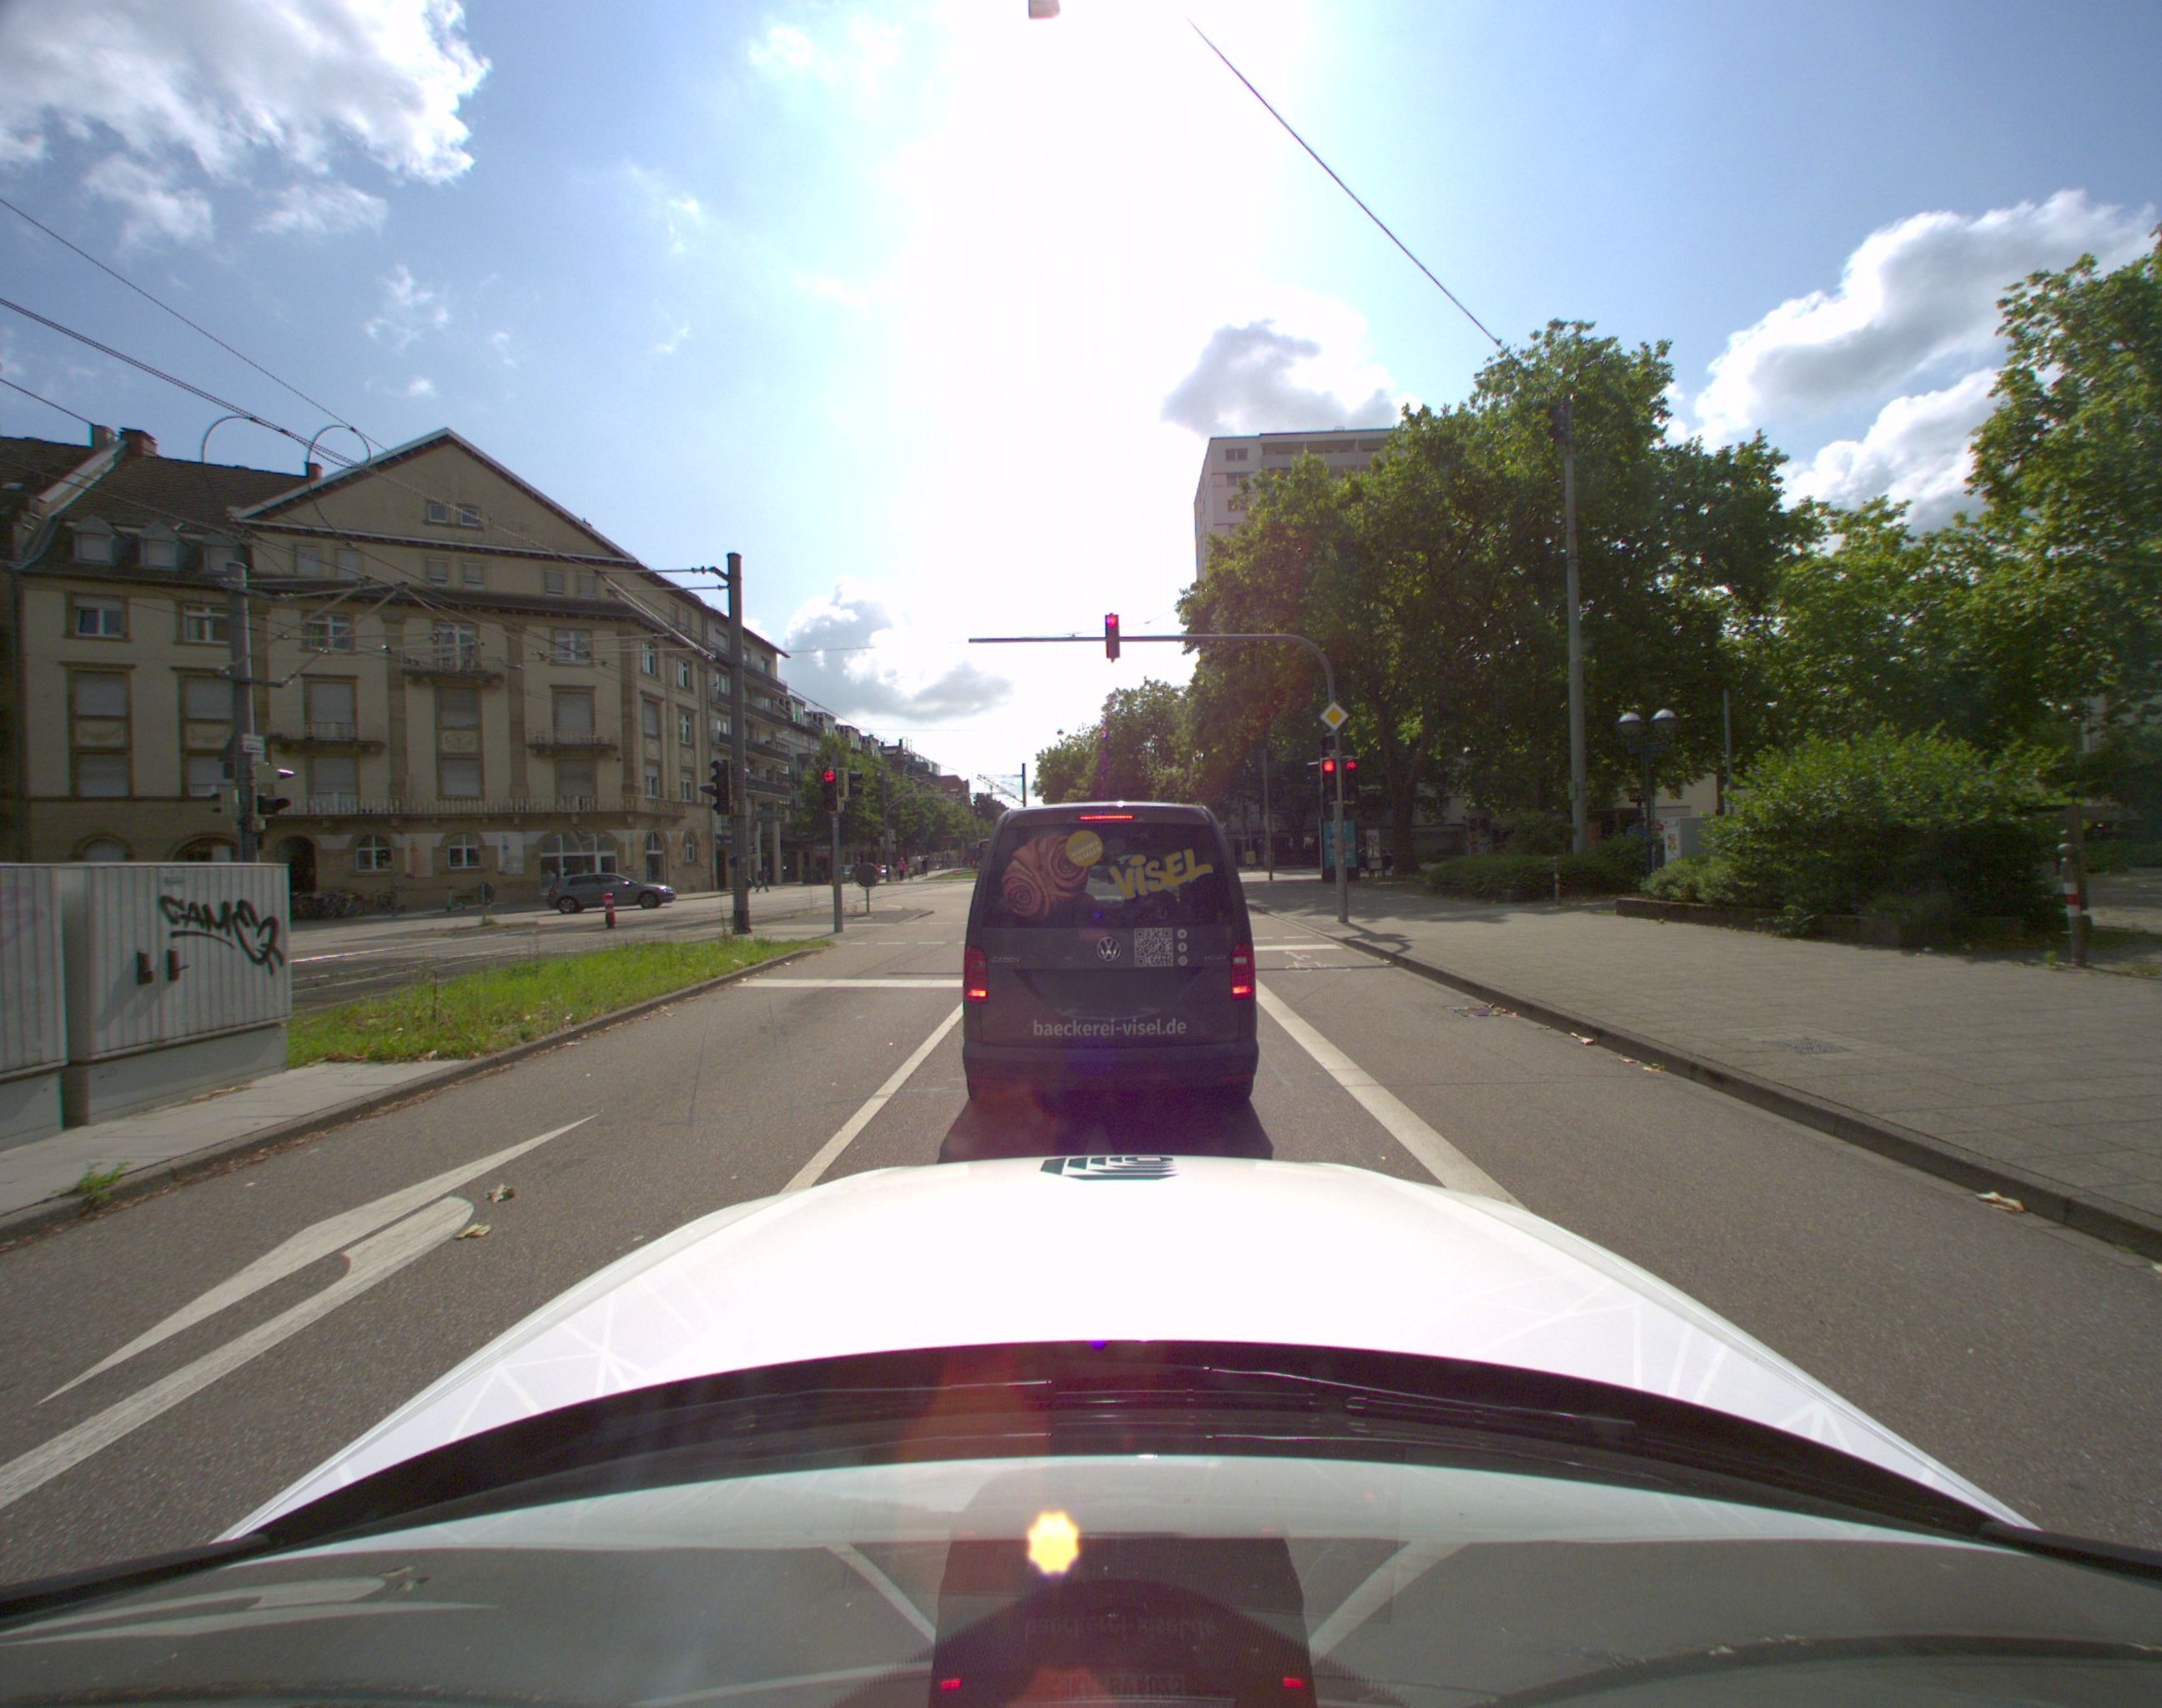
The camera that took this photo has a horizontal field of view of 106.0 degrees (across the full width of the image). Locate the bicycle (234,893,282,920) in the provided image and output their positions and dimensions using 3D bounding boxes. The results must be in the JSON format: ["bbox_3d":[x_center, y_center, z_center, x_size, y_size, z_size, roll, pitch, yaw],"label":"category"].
[{"bbox_3d":[-36.158,2.273,35.809,0.744,1.053,2.343,-2,0,-27],"label":"bicycle"}]

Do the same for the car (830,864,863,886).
[{"bbox_3d":[-23.635,2.076,82.267,1.986,2.013,4.002,-2,0,2],"label":"car"}]

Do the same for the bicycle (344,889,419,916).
[{"bbox_3d":[-31.993,2.187,37.286,0.797,1.053,2.576,-2,0,14],"label":"bicycle"}]

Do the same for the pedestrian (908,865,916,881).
[{"bbox_3d":[-12.350,1.358,59.529,0.462,1.144,0.435,-2,0,2],"label":"pedestrian"}]

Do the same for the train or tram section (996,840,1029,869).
[{"bbox_3d":[-8.453,0.063,101.918,2.232,3.331,14.021,-2,0,2],"label":"train or tram section"}]

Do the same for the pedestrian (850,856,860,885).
[{"bbox_3d":[-15.686,1.142,56.510,0.476,2.013,0.419,-2,0,-4],"label":"pedestrian"}]

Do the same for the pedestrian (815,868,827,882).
[{"bbox_3d":[-23.229,1.892,72.700,0.751,1.211,0.704,-2,0,2],"label":"pedestrian"}]

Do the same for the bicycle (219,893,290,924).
[{"bbox_3d":[-34.062,2.227,33.594,1.985,1.114,0.482,-2,0,-35],"label":"bicycle"}]

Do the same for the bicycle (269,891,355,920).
[{"bbox_3d":[-33.002,2.210,34.987,2.571,1.053,0.676,-2,0,-26],"label":"bicycle"}]

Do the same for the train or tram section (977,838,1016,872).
[{"bbox_3d":[-8.988,0.108,88.440,2.232,3.331,12.978,-2,0,2],"label":"train or tram section"}]

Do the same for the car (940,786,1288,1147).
[{"bbox_3d":[0.231,0.569,5.870,1.743,1.808,3.476,-1,0,2],"label":"car"}]

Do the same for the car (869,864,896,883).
[{"bbox_3d":[-23.306,2.235,95.597,1.986,2.013,4.002,-2,0,2],"label":"car"}]

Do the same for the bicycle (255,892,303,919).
[{"bbox_3d":[-35.226,2.255,35.822,0.744,1.053,2.543,-2,0,-27],"label":"bicycle"}]

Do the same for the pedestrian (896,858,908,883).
[{"bbox_3d":[-13.106,1.210,59.638,0.656,1.784,0.661,-2,0,2],"label":"pedestrian"}]

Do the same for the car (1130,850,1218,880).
[{"bbox_3d":[5.070,0.591,44.466,4.499,1.390,1.694,-2,0,-22],"label":"car"}]

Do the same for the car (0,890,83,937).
[{"bbox_3d":[-41.521,2.325,32.132,3.950,1.639,1.813,-2,0,26],"label":"car"}]

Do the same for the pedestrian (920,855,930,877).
[{"bbox_3d":[-12.528,0.959,65.410,0.656,1.685,0.656,-2,0,2],"label":"pedestrian"}]

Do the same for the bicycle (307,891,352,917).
[{"bbox_3d":[-33.703,2.227,36.556,0.808,1.053,2.543,-2,0,-27],"label":"bicycle"}]

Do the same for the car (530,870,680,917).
[{"bbox_3d":[-17.687,1.429,30.503,4.574,1.436,1.694,-2,0,-22],"label":"car"}]

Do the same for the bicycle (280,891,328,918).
[{"bbox_3d":[-34.471,2.241,36.161,0.808,1.053,2.543,-2,0,-27],"label":"bicycle"}]

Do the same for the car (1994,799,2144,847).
[{"bbox_3d":[46.894,-1.461,38.734,4.396,2.013,2.079,-2,0,3],"label":"car"}]

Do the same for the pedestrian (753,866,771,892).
[{"bbox_3d":[-20.314,1.604,51.854,0.865,1.596,0.686,-2,0,-33],"label":"pedestrian"}]

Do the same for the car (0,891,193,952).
[{"bbox_3d":[-30.960,2.065,25.239,4.330,1.546,1.619,-2,0,-22],"label":"car"}]

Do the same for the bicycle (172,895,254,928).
[{"bbox_3d":[-36.441,2.405,34.175,3.283,1.253,1.003,-2,0,18],"label":"bicycle"}]
